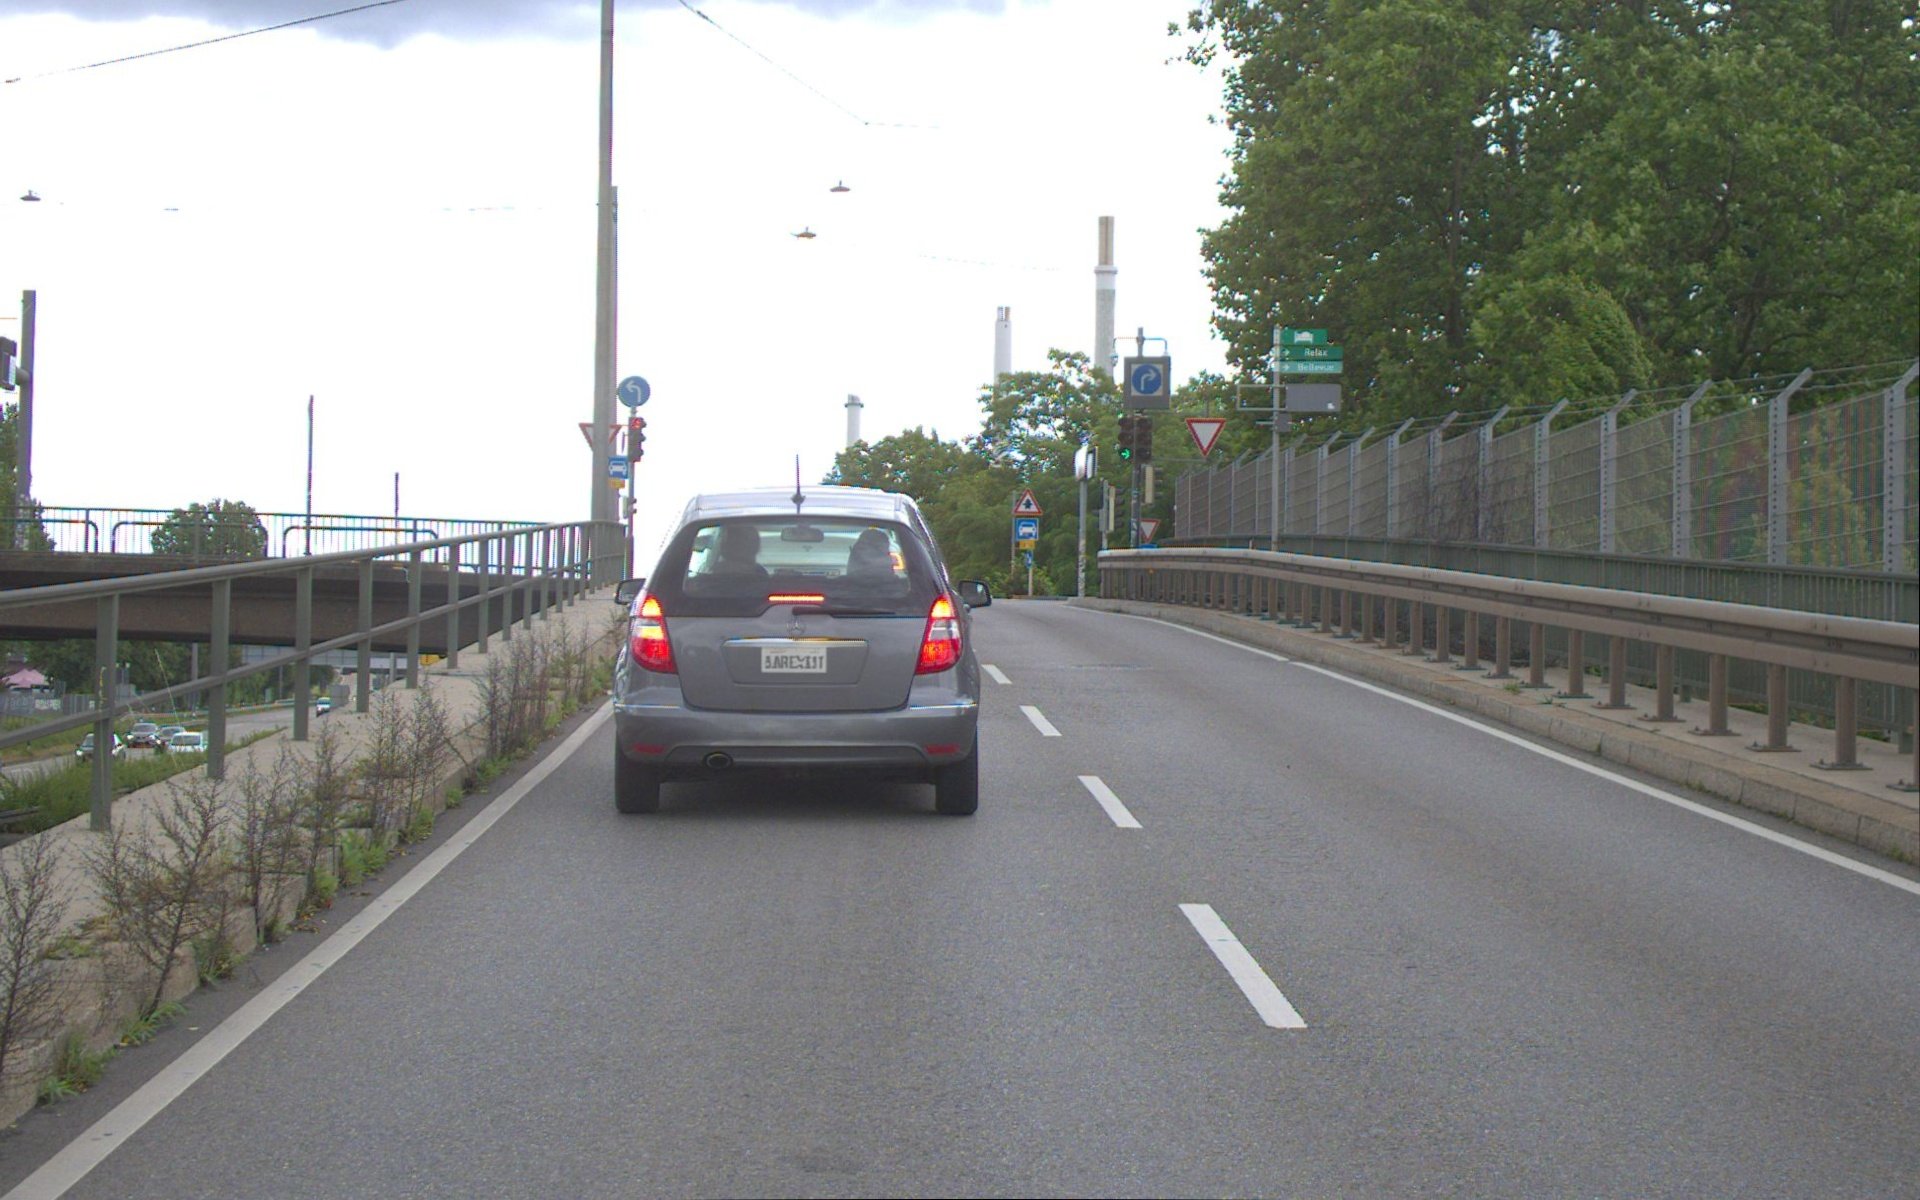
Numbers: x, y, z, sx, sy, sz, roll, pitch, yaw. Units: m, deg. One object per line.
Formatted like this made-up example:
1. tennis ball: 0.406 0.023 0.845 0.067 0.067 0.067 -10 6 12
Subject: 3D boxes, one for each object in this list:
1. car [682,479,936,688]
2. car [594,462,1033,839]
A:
1. car: -1.239 -0.198 28.975 1.993 1.597 4.001 0 3 -2
2. car: -0.636 0.149 17.803 1.750 1.575 4.085 1 4 5
